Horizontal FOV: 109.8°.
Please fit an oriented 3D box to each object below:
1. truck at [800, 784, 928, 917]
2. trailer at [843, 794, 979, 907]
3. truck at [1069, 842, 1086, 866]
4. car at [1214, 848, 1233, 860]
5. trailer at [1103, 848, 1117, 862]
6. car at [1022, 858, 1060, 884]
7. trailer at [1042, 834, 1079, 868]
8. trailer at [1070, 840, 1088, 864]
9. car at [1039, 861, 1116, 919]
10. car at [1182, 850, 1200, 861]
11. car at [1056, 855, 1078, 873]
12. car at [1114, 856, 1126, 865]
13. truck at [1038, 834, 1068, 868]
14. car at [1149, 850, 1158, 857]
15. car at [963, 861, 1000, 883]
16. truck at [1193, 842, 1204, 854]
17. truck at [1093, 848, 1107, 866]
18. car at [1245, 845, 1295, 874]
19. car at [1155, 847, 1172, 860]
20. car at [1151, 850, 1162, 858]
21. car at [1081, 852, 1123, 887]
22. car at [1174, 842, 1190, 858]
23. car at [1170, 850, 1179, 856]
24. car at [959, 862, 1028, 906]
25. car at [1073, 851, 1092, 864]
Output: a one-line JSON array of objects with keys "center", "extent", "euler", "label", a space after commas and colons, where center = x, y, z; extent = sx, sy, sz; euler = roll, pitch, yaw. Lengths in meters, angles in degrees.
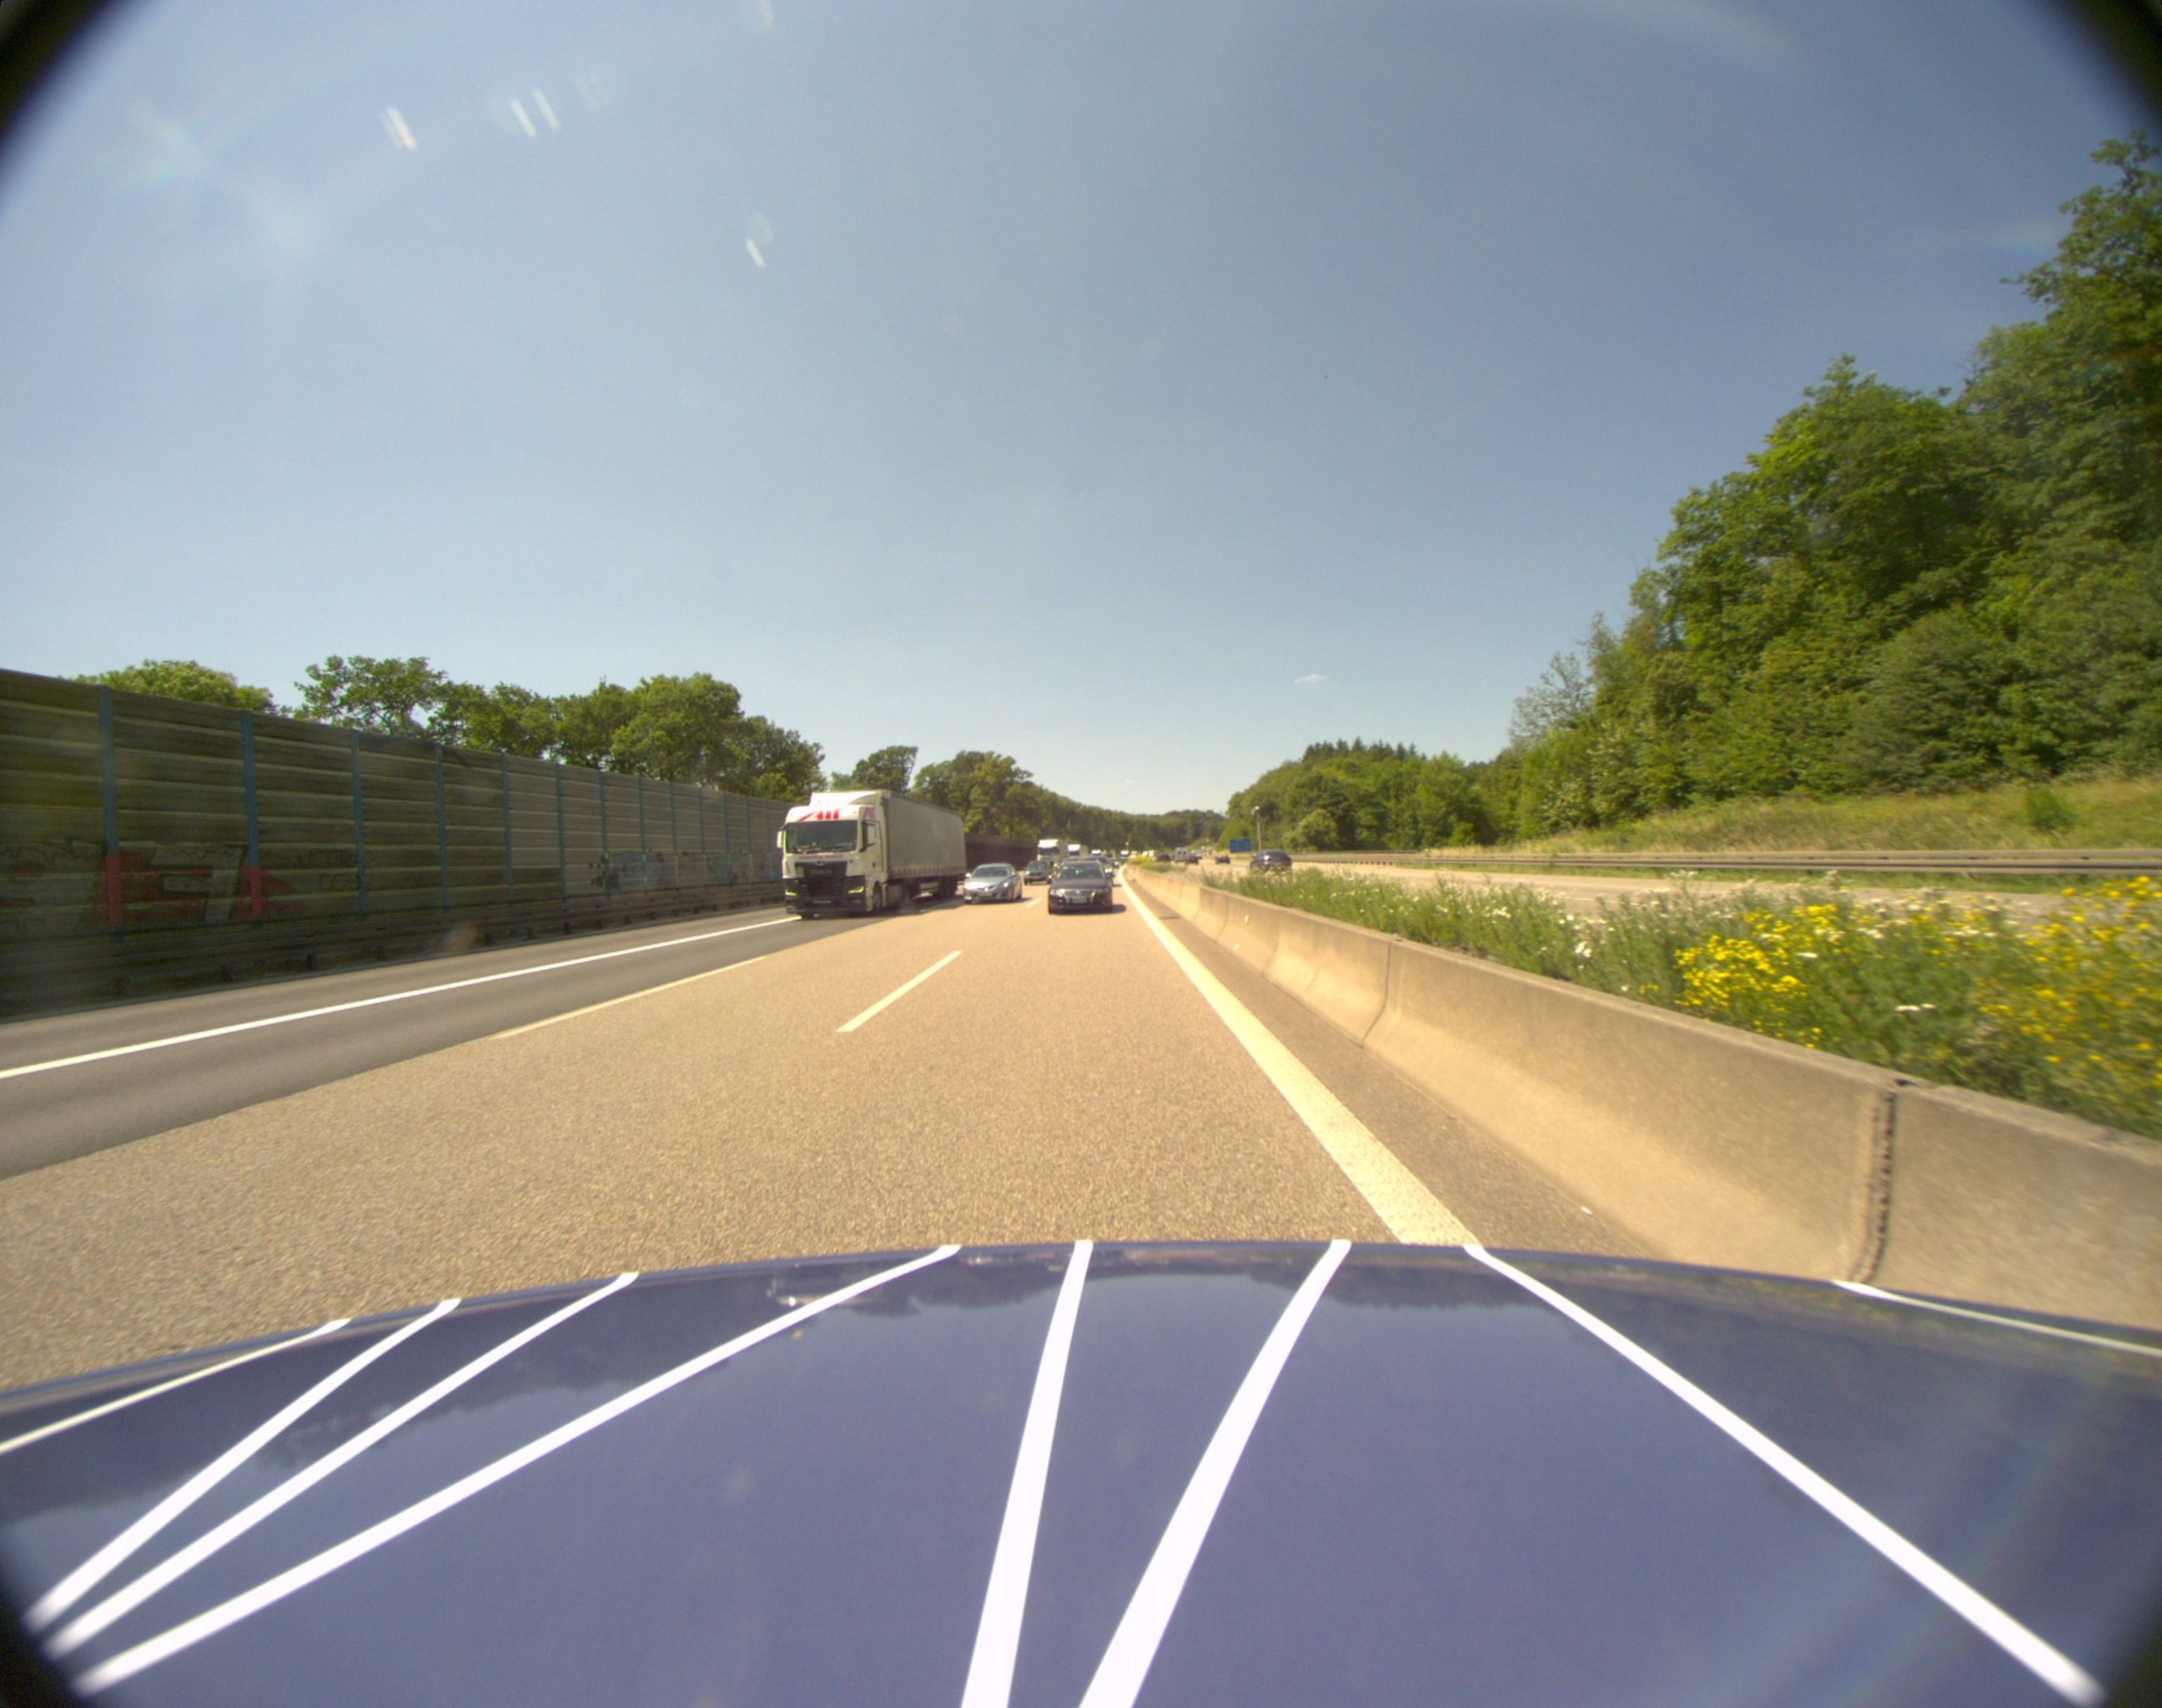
[{"center": [-7.355, -0.116, 26.576], "extent": [2.604, 4.067, 5.553], "euler": [-2, 1, 2], "label": "truck"}, {"center": [-7.126, -0.159, 34.615], "extent": [2.604, 4.066, 13.592], "euler": [-2, 0, 2], "label": "trailer"}, {"center": [-0.606, -0.041, 135.468], "extent": [2.545, 4.149, 4.746], "euler": [-2, 0, 4], "label": "truck"}, {"center": [18.711, -0.034, 99.951], "extent": [1.844, 1.444, 4.001], "euler": [-2, 0, 2], "label": "car"}, {"center": [8.679, 0.284, 224.865], "extent": [3.153, 4.061, 6.187], "euler": [-2, 0, 10], "label": "trailer"}, {"center": [-2.550, 1.084, 49.376], "extent": [1.907, 1.550, 4.001], "euler": [-2, 0, 4], "label": "car"}, {"center": [-2.659, -0.398, 104.696], "extent": [2.820, 4.190, 13.472], "euler": [-2, 0, 7], "label": "trailer"}, {"center": [-0.322, -0.308, 140.151], "extent": [2.542, 4.149, 10.179], "euler": [-2, 0, 3], "label": "trailer"}, {"center": [0.004, 0.978, 22.182], "extent": [1.907, 1.410, 4.001], "euler": [-2, 0, 4], "label": "car"}, {"center": [15.049, 0.149, 104.088], "extent": [1.817, 1.393, 4.272], "euler": [-2, 0, 2], "label": "car"}, {"center": [-1.406, 0.994, 77.498], "extent": [1.998, 1.641, 4.000], "euler": [-2, 0, 1], "label": "car"}, {"center": [7.642, 1.246, 148.275], "extent": [1.998, 1.641, 4.002], "euler": [-2, 0, 6], "label": "car"}, {"center": [-3.524, -0.390, 97.767], "extent": [2.811, 4.190, 5.424], "euler": [-2, 0, 7], "label": "truck"}, {"center": [16.548, -0.035, 174.130], "extent": [1.808, 1.518, 4.257], "euler": [-2, 0, 3], "label": "car"}, {"center": [-7.425, 1.297, 57.207], "extent": [1.860, 1.484, 4.178], "euler": [-2, 0, 5], "label": "car"}, {"center": [35.476, -1.898, 228.819], "extent": [2.741, 3.454, 7.317], "euler": [-2, 0, 6], "label": "truck"}, {"center": [4.850, 0.717, 190.075], "extent": [2.852, 4.381, 5.242], "euler": [-2, 0, 8], "label": "truck"}, {"center": [11.684, 0.327, 47.299], "extent": [1.998, 1.618, 4.474], "euler": [-2, 0, 1], "label": "car"}, {"center": [11.569, -0.102, 107.131], "extent": [1.998, 1.713, 4.357], "euler": [-2, 0, 2], "label": "car"}, {"center": [14.657, -0.071, 147.070], "extent": [1.879, 1.402, 4.412], "euler": [-2, 0, 2], "label": "car"}, {"center": [1.162, 0.771, 39.800], "extent": [1.998, 1.641, 4.001], "euler": [-2, 0, 4], "label": "car"}, {"center": [17.605, -0.659, 132.446], "extent": [2.221, 2.685, 6.063], "euler": [-2, 0, 2], "label": "car"}, {"center": [23.180, -0.177, 187.686], "extent": [1.847, 1.412, 4.234], "euler": [-2, 0, 3], "label": "car"}, {"center": [-3.245, 1.086, 29.004], "extent": [1.860, 1.426, 4.177], "euler": [-2, 0, 3], "label": "car"}, {"center": [0.245, 0.439, 98.786], "extent": [1.998, 1.641, 4.002], "euler": [-2, 0, 6], "label": "car"}]
